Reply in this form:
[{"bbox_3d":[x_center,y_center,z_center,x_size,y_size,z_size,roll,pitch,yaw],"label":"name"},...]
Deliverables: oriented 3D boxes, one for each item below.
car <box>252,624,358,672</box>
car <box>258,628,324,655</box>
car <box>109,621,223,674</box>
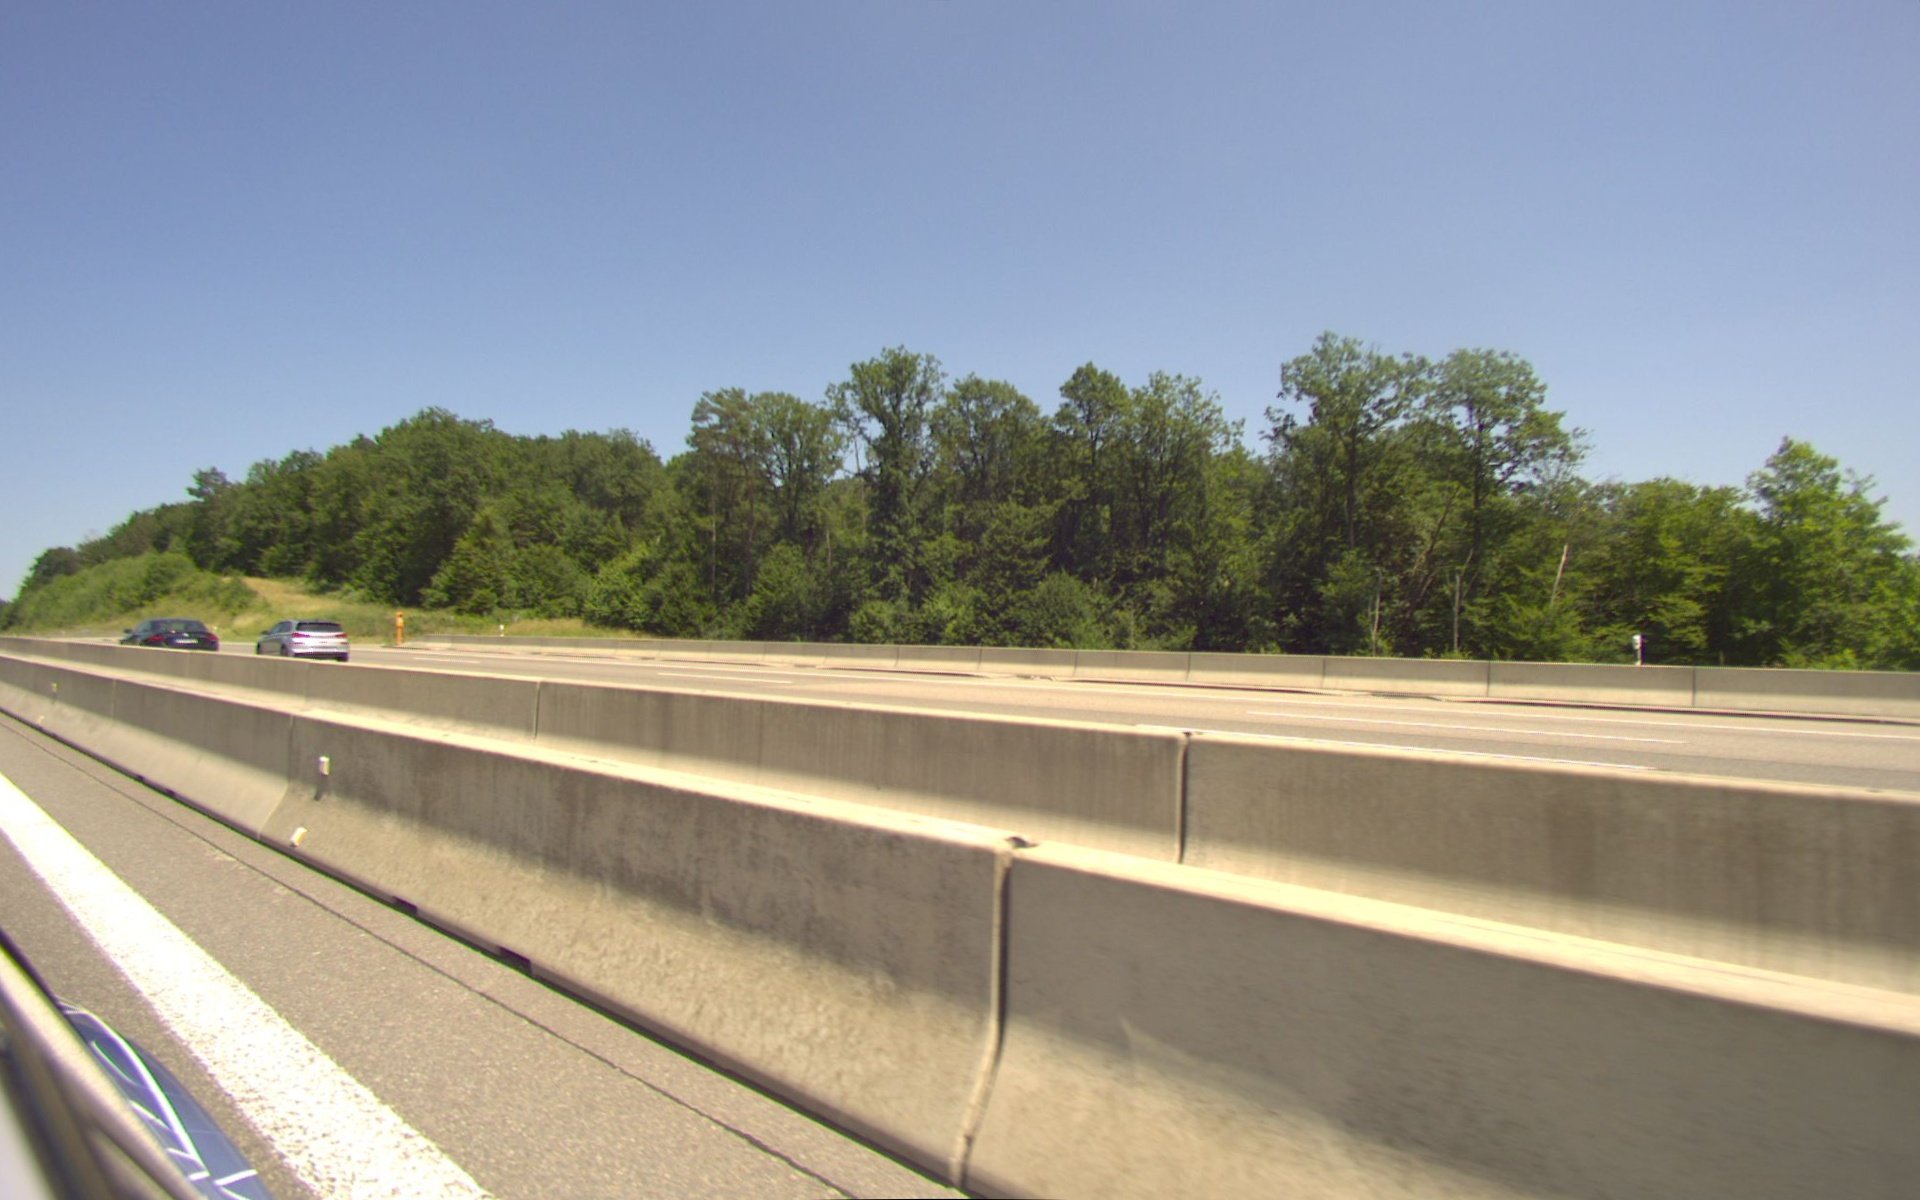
[{"bbox_3d":[-21.281,1.524,32.827,3.997,1.452,1.820,-1,-2,40],"label":"car"},{"bbox_3d":[-38.097,2.337,57.611,4.761,1.452,1.820,-1,-4,40],"label":"car"},{"bbox_3d":[-23.933,1.386,30.447,4.842,1.452,1.820,-1,-2,41],"label":"car"}]
